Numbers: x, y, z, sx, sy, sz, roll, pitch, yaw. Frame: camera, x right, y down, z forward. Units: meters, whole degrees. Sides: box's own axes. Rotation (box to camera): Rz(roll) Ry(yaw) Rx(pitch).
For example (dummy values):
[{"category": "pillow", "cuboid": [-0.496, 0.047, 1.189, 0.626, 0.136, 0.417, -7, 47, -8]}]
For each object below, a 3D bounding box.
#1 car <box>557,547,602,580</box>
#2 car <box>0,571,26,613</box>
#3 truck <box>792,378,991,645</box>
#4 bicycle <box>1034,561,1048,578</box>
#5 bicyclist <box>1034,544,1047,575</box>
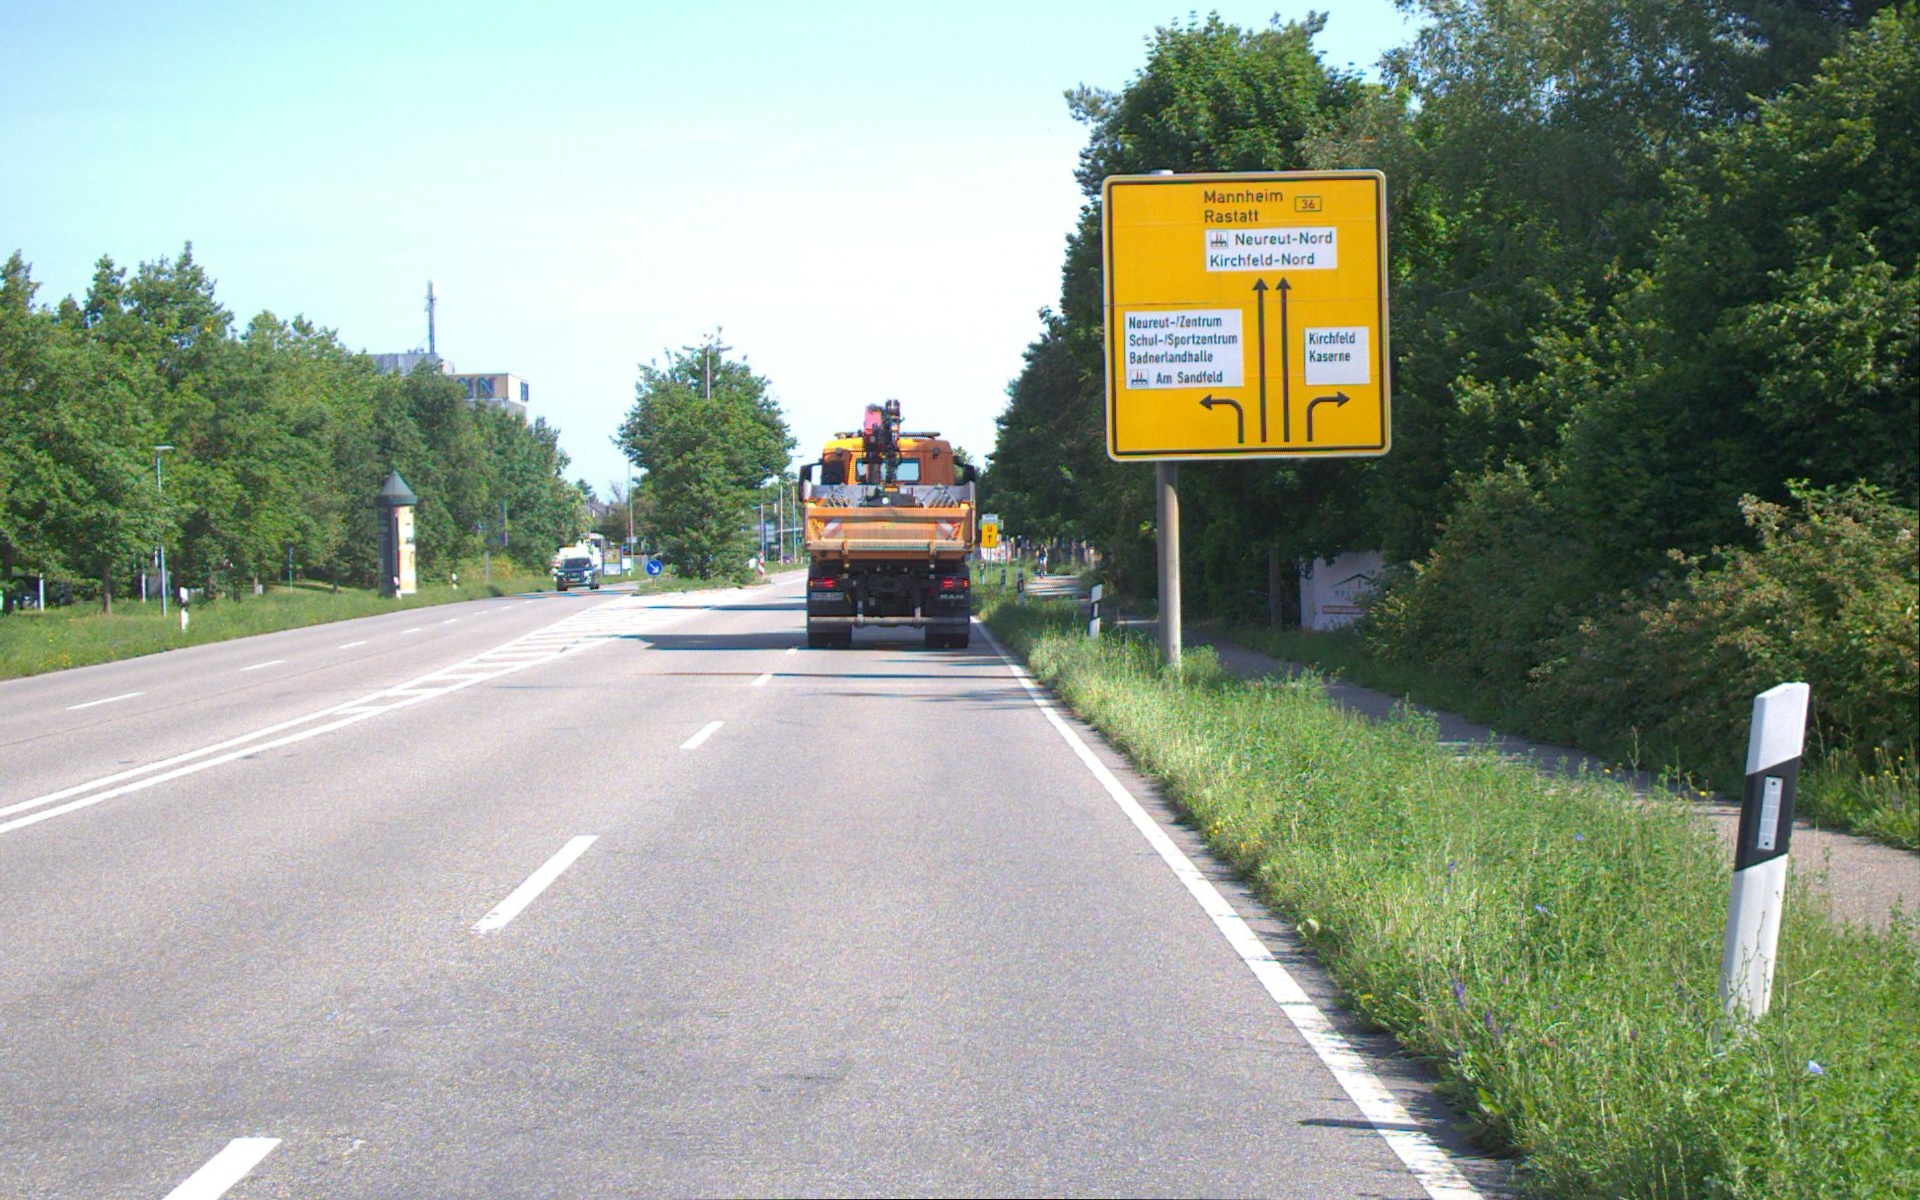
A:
[{"category": "car", "cuboid": [-18.937, -1.823, 171.297, 1.800, 1.566, 4.000, -2, 1, -1]}, {"category": "car", "cuboid": [-35.156, -0.231, 119.933, 4.594, 1.432, 2.000, -1, 1, -1]}, {"category": "truck", "cuboid": [-1.189, -1.361, 54.262, 2.871, 3.867, 7.401, 1, 1, -3]}, {"category": "bicycle", "cuboid": [4.039, -1.538, 171.272, 0.558, 0.813, 1.964, -2, 1, -1]}, {"category": "bicyclist", "cuboid": [4.025, -2.021, 171.269, 0.558, 1.552, 0.557, -2, 1, -1]}]
